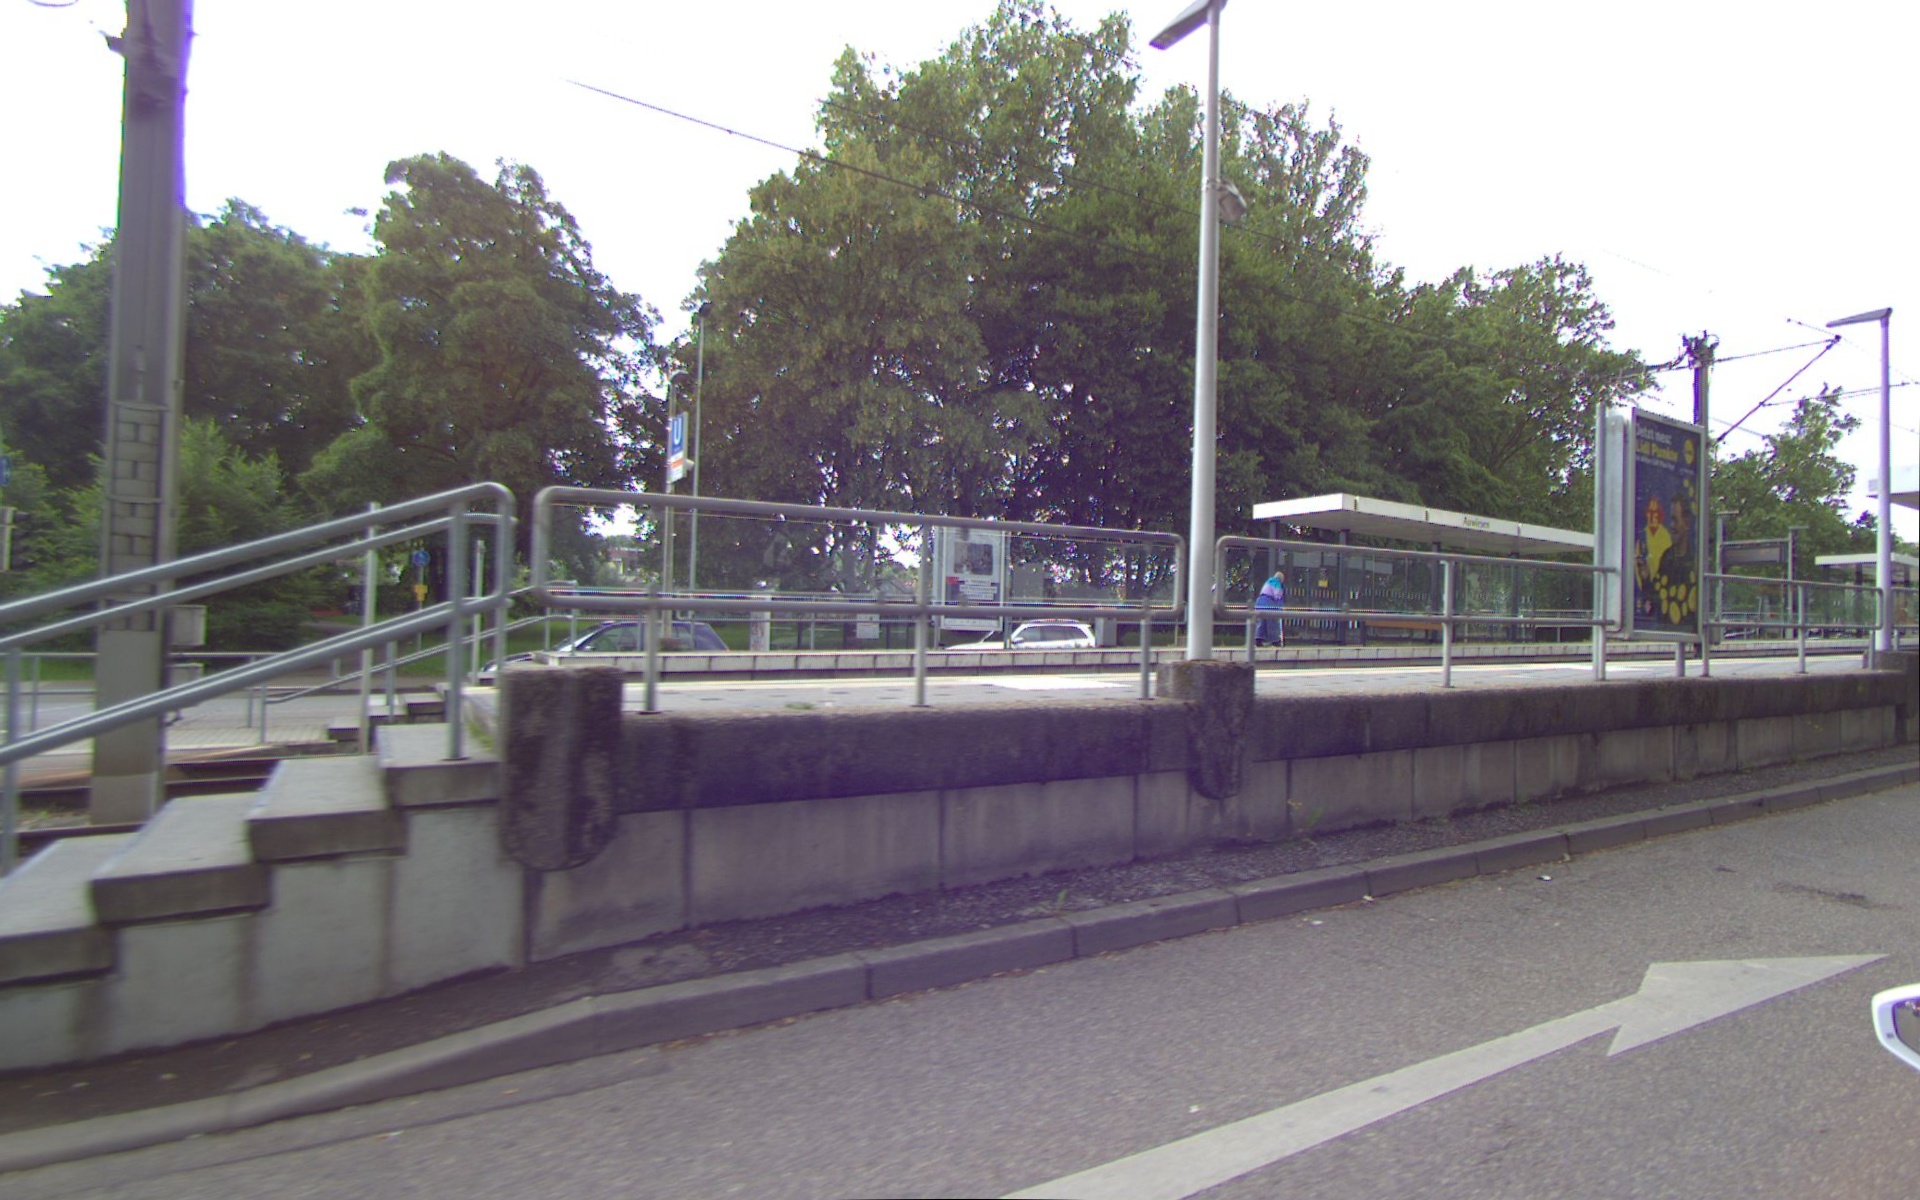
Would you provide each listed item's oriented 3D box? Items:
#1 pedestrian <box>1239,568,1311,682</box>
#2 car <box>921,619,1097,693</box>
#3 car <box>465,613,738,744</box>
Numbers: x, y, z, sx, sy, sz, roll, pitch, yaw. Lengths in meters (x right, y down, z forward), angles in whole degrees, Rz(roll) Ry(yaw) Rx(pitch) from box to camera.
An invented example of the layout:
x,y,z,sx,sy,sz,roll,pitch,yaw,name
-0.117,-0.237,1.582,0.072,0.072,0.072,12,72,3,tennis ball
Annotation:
x,y,z,sx,sy,sz,roll,pitch,yaw,name
6.322,0.503,20.168,0.965,2.215,0.965,2,-1,-30,pedestrian
1.311,1.475,26.029,4.351,1.774,1.701,3,-3,-32,car
-5.917,1.253,16.710,3.957,1.885,1.687,3,0,-33,car
